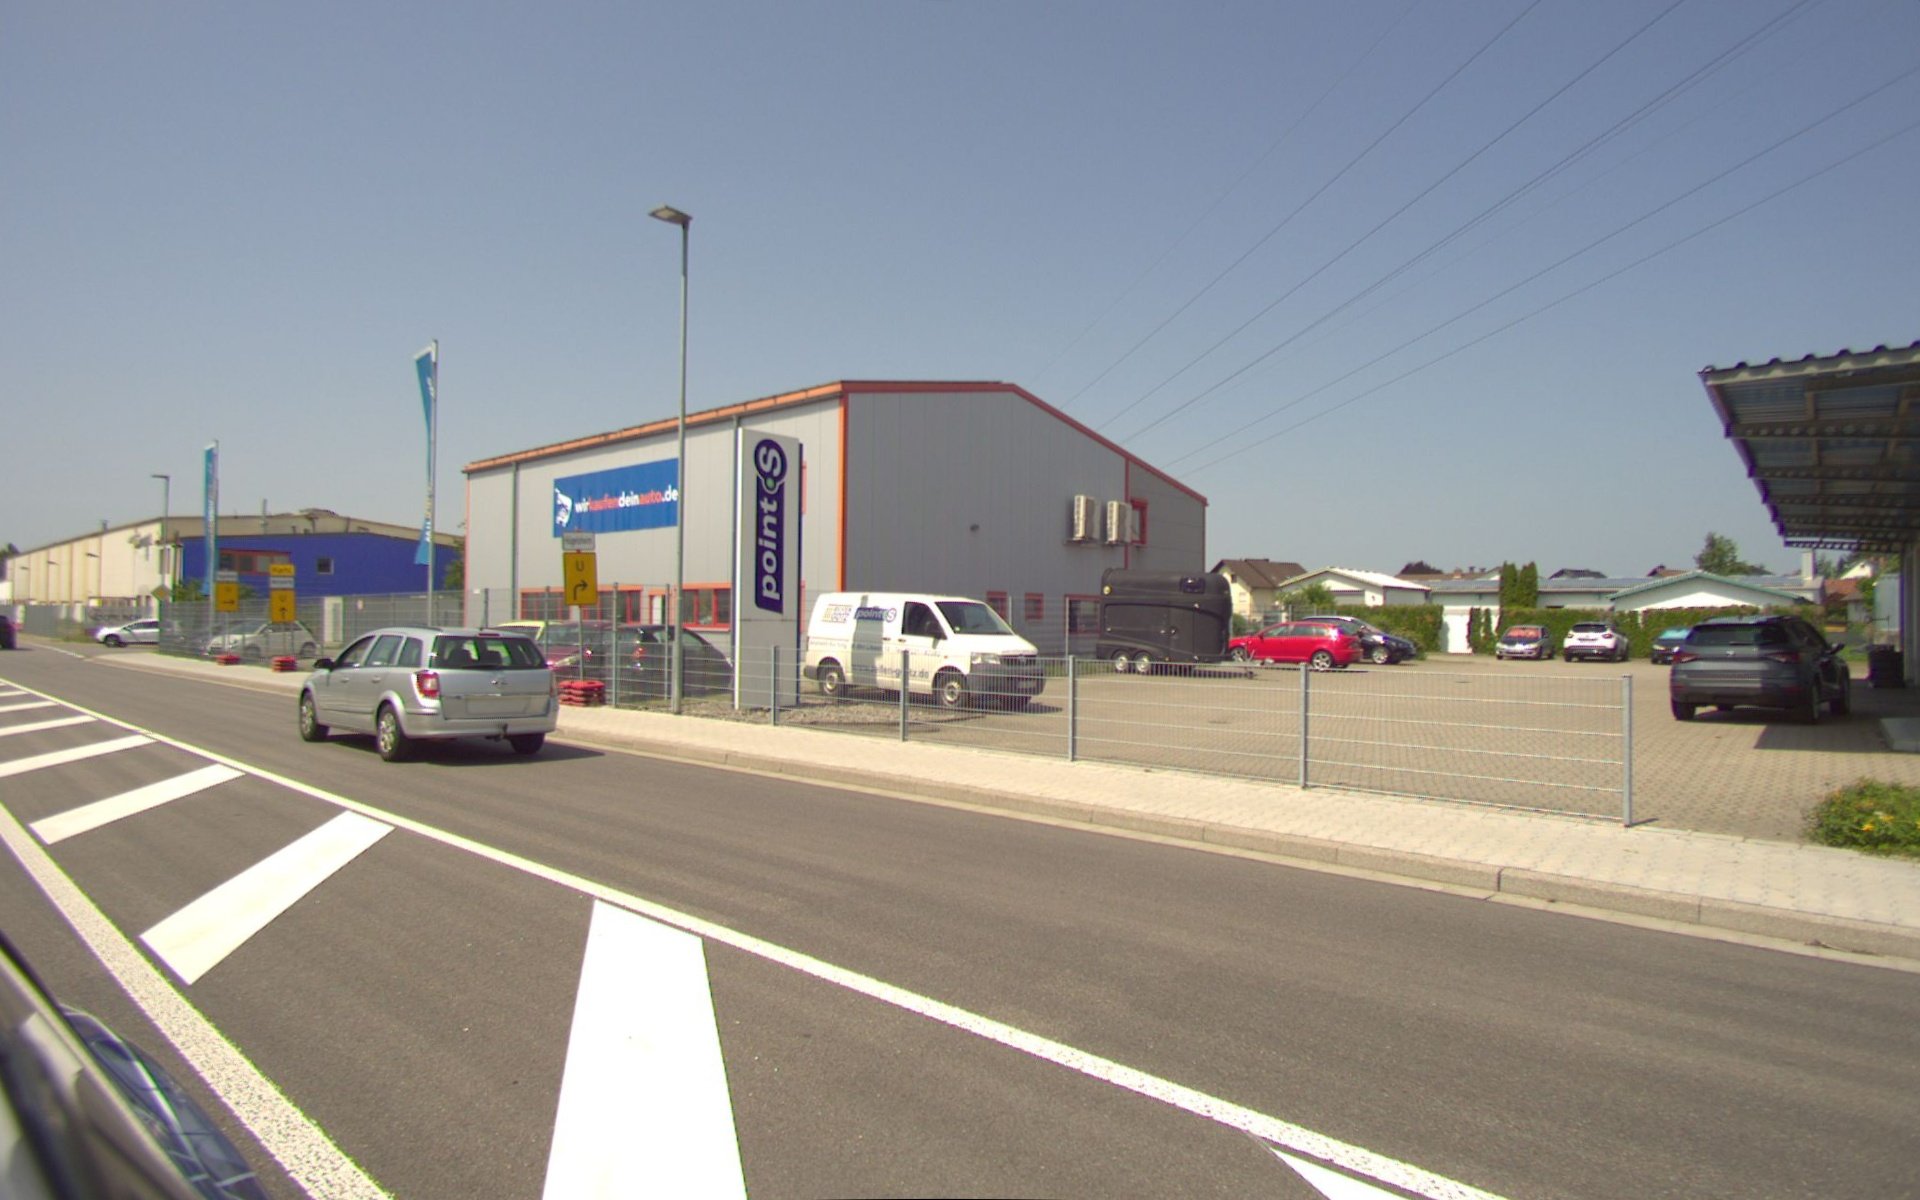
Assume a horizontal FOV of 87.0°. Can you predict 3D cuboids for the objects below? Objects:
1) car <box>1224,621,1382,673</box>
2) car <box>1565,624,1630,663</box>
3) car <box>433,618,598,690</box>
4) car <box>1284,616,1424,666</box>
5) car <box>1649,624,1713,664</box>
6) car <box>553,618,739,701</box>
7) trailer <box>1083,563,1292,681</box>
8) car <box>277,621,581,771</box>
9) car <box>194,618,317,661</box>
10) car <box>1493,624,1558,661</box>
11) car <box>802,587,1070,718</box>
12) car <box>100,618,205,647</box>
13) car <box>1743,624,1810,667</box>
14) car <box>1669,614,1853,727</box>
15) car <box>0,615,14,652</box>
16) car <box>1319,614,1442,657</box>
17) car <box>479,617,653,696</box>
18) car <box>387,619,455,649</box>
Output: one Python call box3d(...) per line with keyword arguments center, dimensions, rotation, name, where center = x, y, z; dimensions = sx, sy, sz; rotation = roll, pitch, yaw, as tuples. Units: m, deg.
box3d(center=(10.317, 1.393, 30.589), dimensions=(4.191, 1.459, 1.759), rotation=(-1, -3, 41), name="car")
box3d(center=(25.295, 1.732, 40.108), dimensions=(1.782, 1.459, 3.949), rotation=(-1, -3, 38), name="car")
box3d(center=(-10.124, 1.181, 23.404), dimensions=(1.722, 1.505, 4.086), rotation=(0, -1, 6), name="car")
box3d(center=(13.613, 1.398, 35.136), dimensions=(4.191, 1.626, 1.759), rotation=(-1, -3, 41), name="car")
box3d(center=(27.319, 1.660, 38.305), dimensions=(1.782, 1.459, 3.949), rotation=(-1, -3, 38), name="car")
box3d(center=(-6.175, 1.129, 20.424), dimensions=(1.728, 1.505, 3.979), rotation=(0, -2, 15), name="car")
box3d(center=(6.031, 0.540, 27.258), dimensions=(5.122, 2.870, 2.140), rotation=(0, 0, 41), name="trailer")
box3d(center=(-6.446, 1.029, 12.092), dimensions=(4.257, 1.477, 1.745), rotation=(-1, -4, 41), name="car")
box3d(center=(-25.699, 1.422, 37.032), dimensions=(1.576, 1.476, 3.469), rotation=(0, -2, 16), name="car")
box3d(center=(23.620, 1.758, 42.197), dimensions=(1.782, 1.459, 3.949), rotation=(-1, -3, 38), name="car")
box3d(center=(-0.535, 0.849, 18.021), dimensions=(4.680, 2.029, 1.972), rotation=(0, -2, 43), name="car")
box3d(center=(-43.244, 1.729, 54.286), dimensions=(4.090, 1.514, 1.781), rotation=(1, -2, -26), name="car")
box3d(center=(29.276, 1.634, 36.366), dimensions=(1.782, 1.459, 3.949), rotation=(-1, -3, 38), name="car")
box3d(center=(12.284, 1.011, 15.436), dimensions=(1.785, 1.497, 3.942), rotation=(-2, -3, 44), name="car")
box3d(center=(-44.832, 1.480, 46.318), dimensions=(4.522, 1.629, 1.860), rotation=(-1, -4, 43), name="car")
box3d(center=(16.661, 1.412, 40.243), dimensions=(4.191, 1.626, 1.759), rotation=(-1, -3, 41), name="car")
box3d(center=(-8.224, 1.131, 21.539), dimensions=(1.724, 1.505, 3.989), rotation=(0, -1, 8), name="car")
box3d(center=(-27.940, 1.778, 52.435), dimensions=(3.997, 1.514, 1.751), rotation=(-2, -3, 40), name="car")
